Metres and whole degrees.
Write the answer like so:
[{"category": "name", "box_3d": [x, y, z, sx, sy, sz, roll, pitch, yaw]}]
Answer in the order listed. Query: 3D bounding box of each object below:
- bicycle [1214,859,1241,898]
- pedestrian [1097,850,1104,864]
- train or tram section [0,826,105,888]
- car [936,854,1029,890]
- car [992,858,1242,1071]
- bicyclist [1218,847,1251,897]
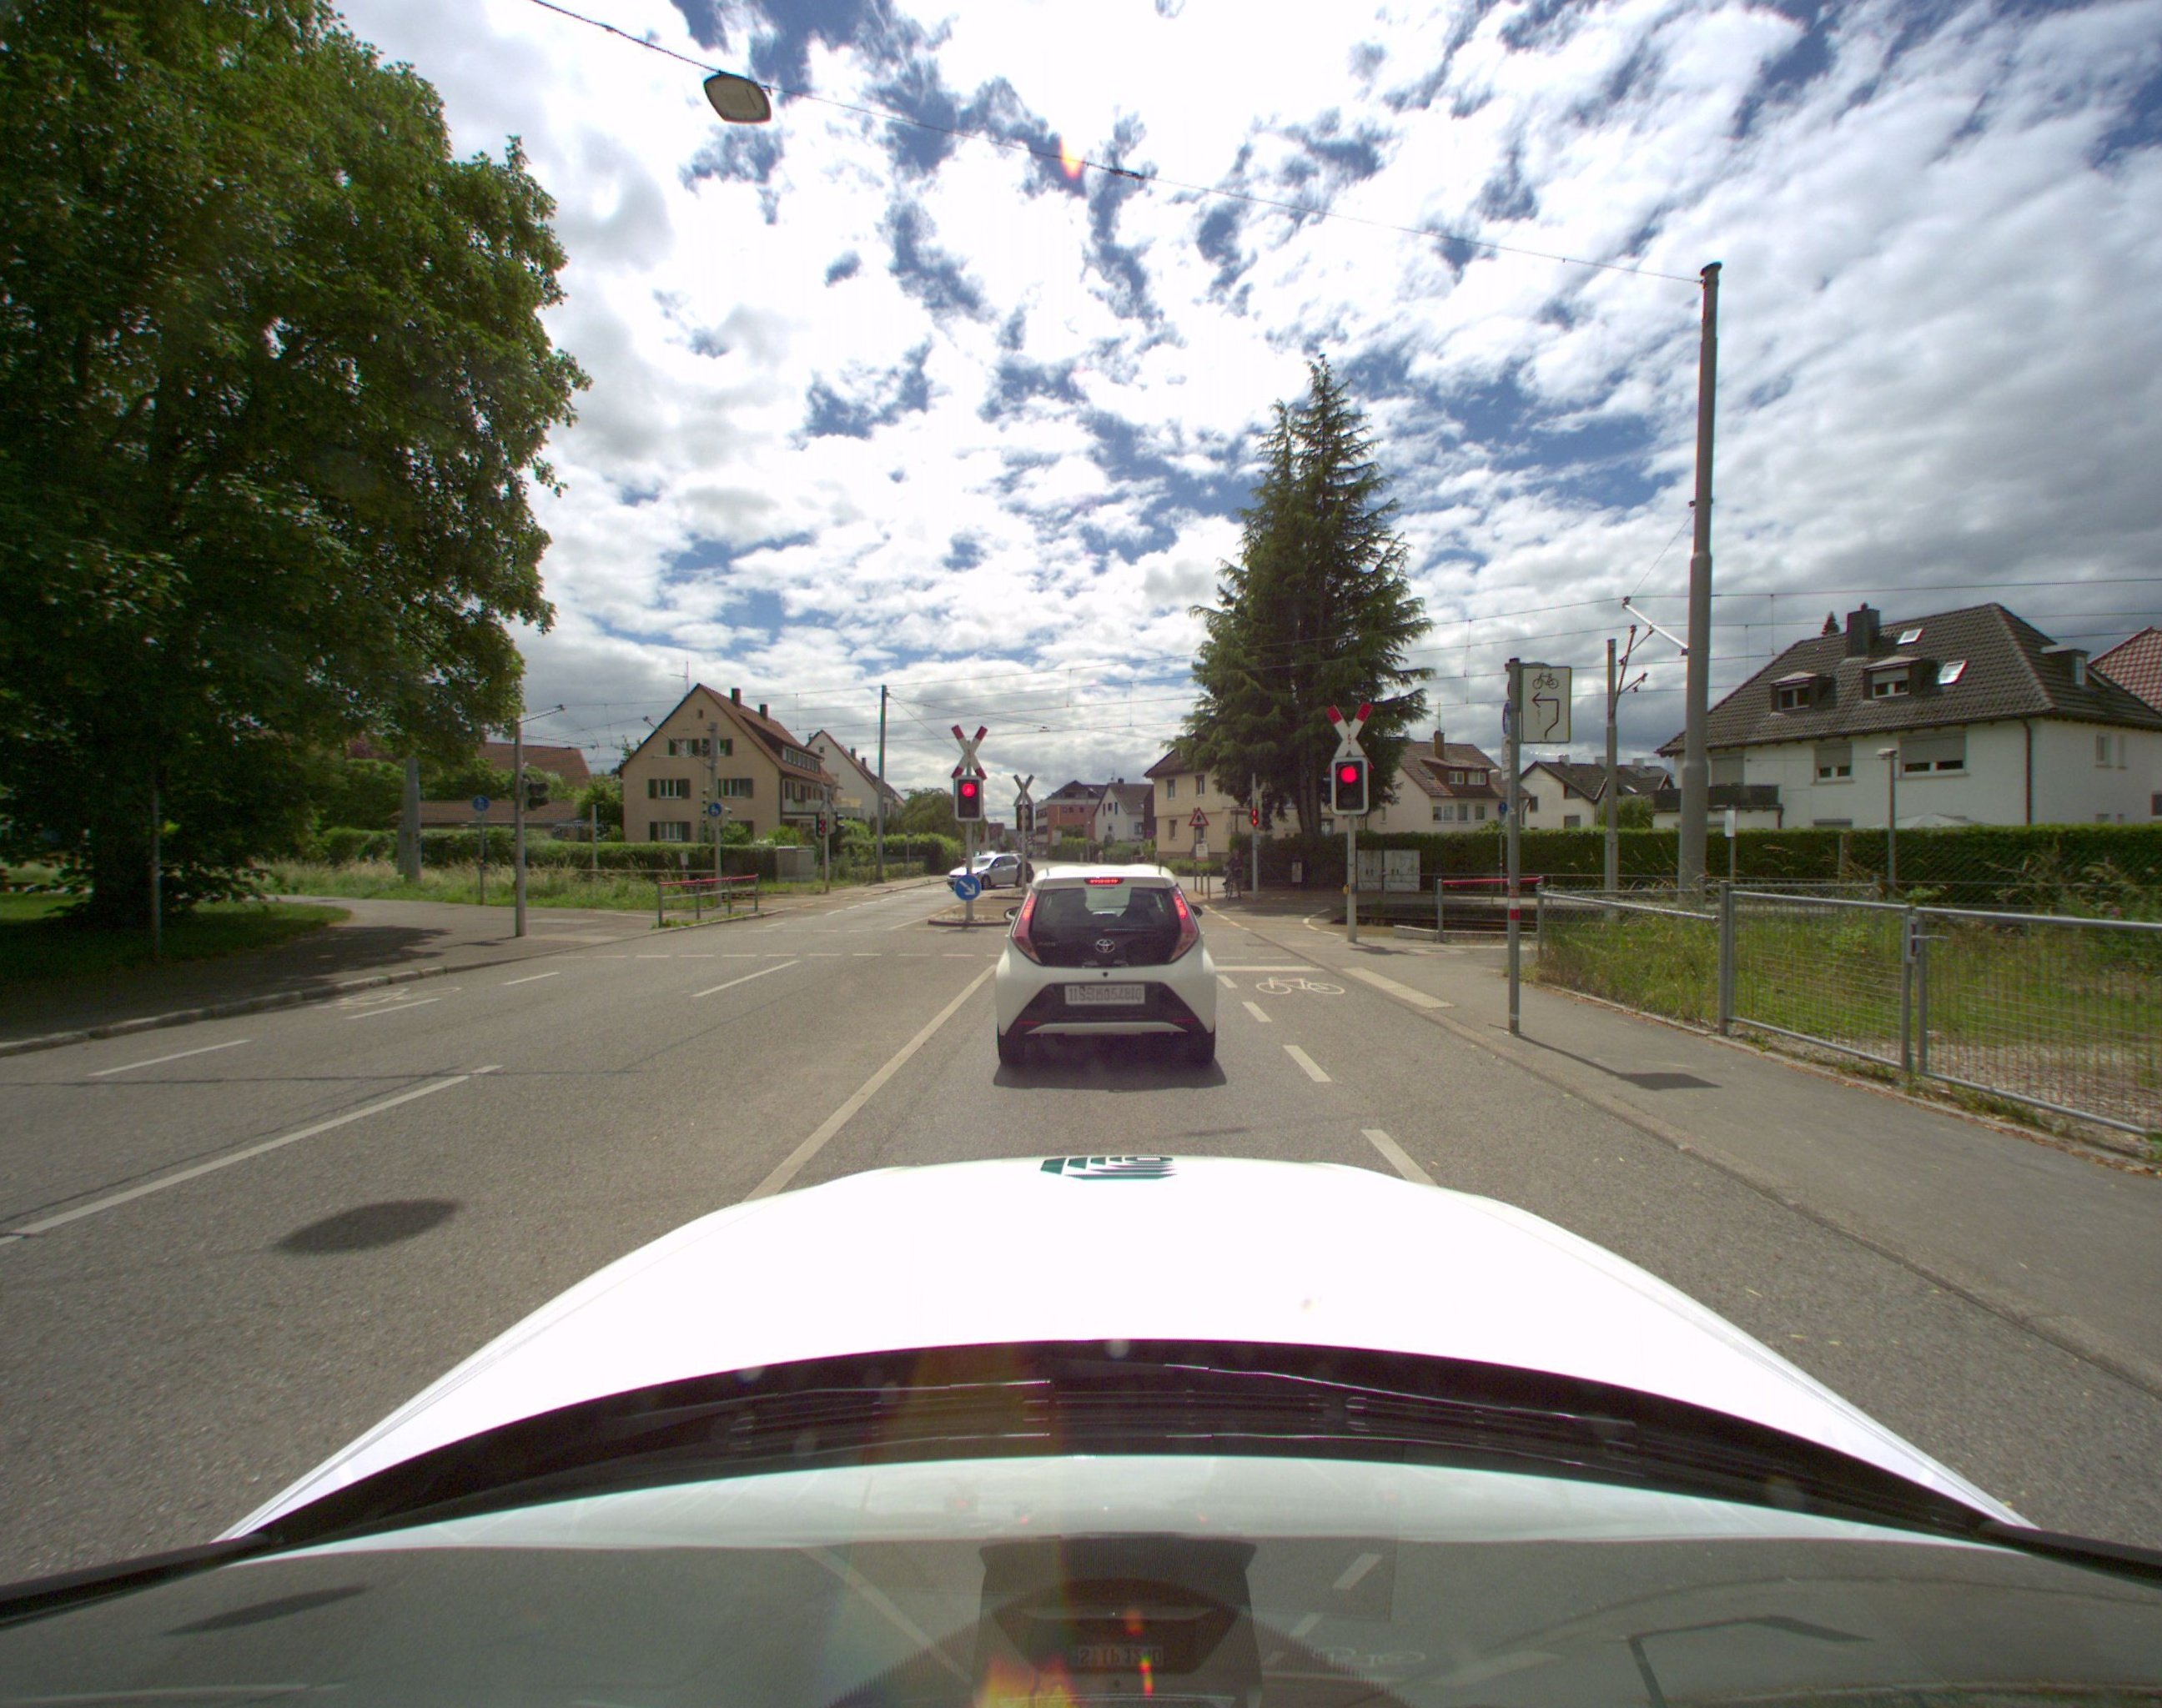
[{"category": "bicycle", "box_3d": [4.846, 0.789, 27.012, 0.456, 1.172, 1.477, -3, 2, -4]}, {"category": "pedestrian", "box_3d": [2.179, 0.357, 91.072, 0.723, 1.576, 0.804, 0, 0, 2]}, {"category": "train or tram section", "box_3d": [-70.443, 0.121, 53.642, 18.885, 3.704, 2.936, 0, 1, 24]}, {"category": "car", "box_3d": [-4.214, 0.745, 35.399, 1.887, 1.441, 4.124, 0, 0, 30]}, {"category": "car", "box_3d": [0.207, 0.769, 7.450, 1.716, 1.442, 3.706, 0, 0, -2]}, {"category": "bicyclist", "box_3d": [5.047, 0.586, 26.845, 0.839, 1.553, 0.755, -3, 2, -4]}]
